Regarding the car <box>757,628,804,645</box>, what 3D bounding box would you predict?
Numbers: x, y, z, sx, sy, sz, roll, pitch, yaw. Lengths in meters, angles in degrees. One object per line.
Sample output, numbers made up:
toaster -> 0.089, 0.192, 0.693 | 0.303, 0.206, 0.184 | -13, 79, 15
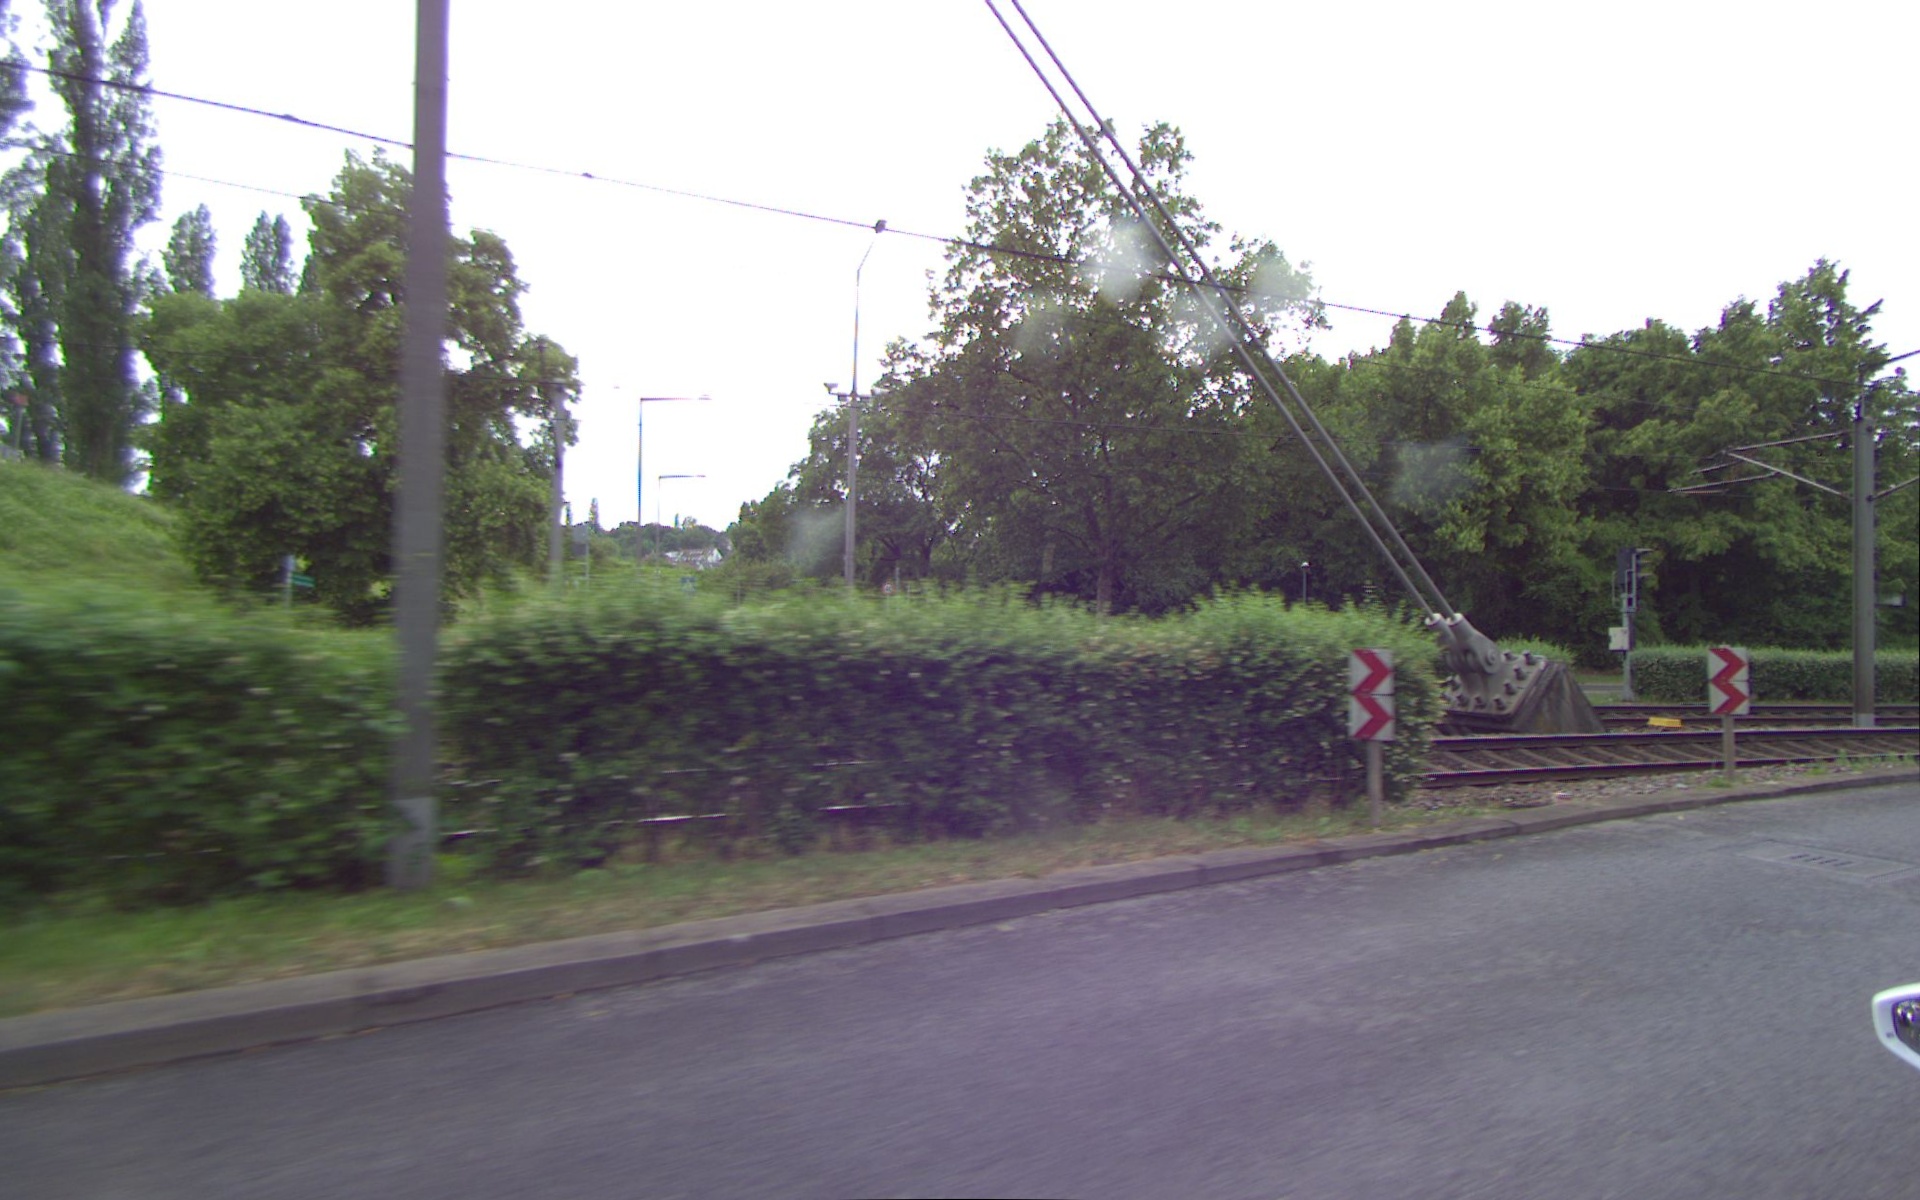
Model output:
car -> -16.153, 3.282, 90.397 | 1.855, 1.386, 3.988 | 3, -1, 35

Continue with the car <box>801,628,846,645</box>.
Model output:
car -> -12.940, 3.483, 95.498 | 1.859, 1.386, 3.980 | 2, -1, 42
